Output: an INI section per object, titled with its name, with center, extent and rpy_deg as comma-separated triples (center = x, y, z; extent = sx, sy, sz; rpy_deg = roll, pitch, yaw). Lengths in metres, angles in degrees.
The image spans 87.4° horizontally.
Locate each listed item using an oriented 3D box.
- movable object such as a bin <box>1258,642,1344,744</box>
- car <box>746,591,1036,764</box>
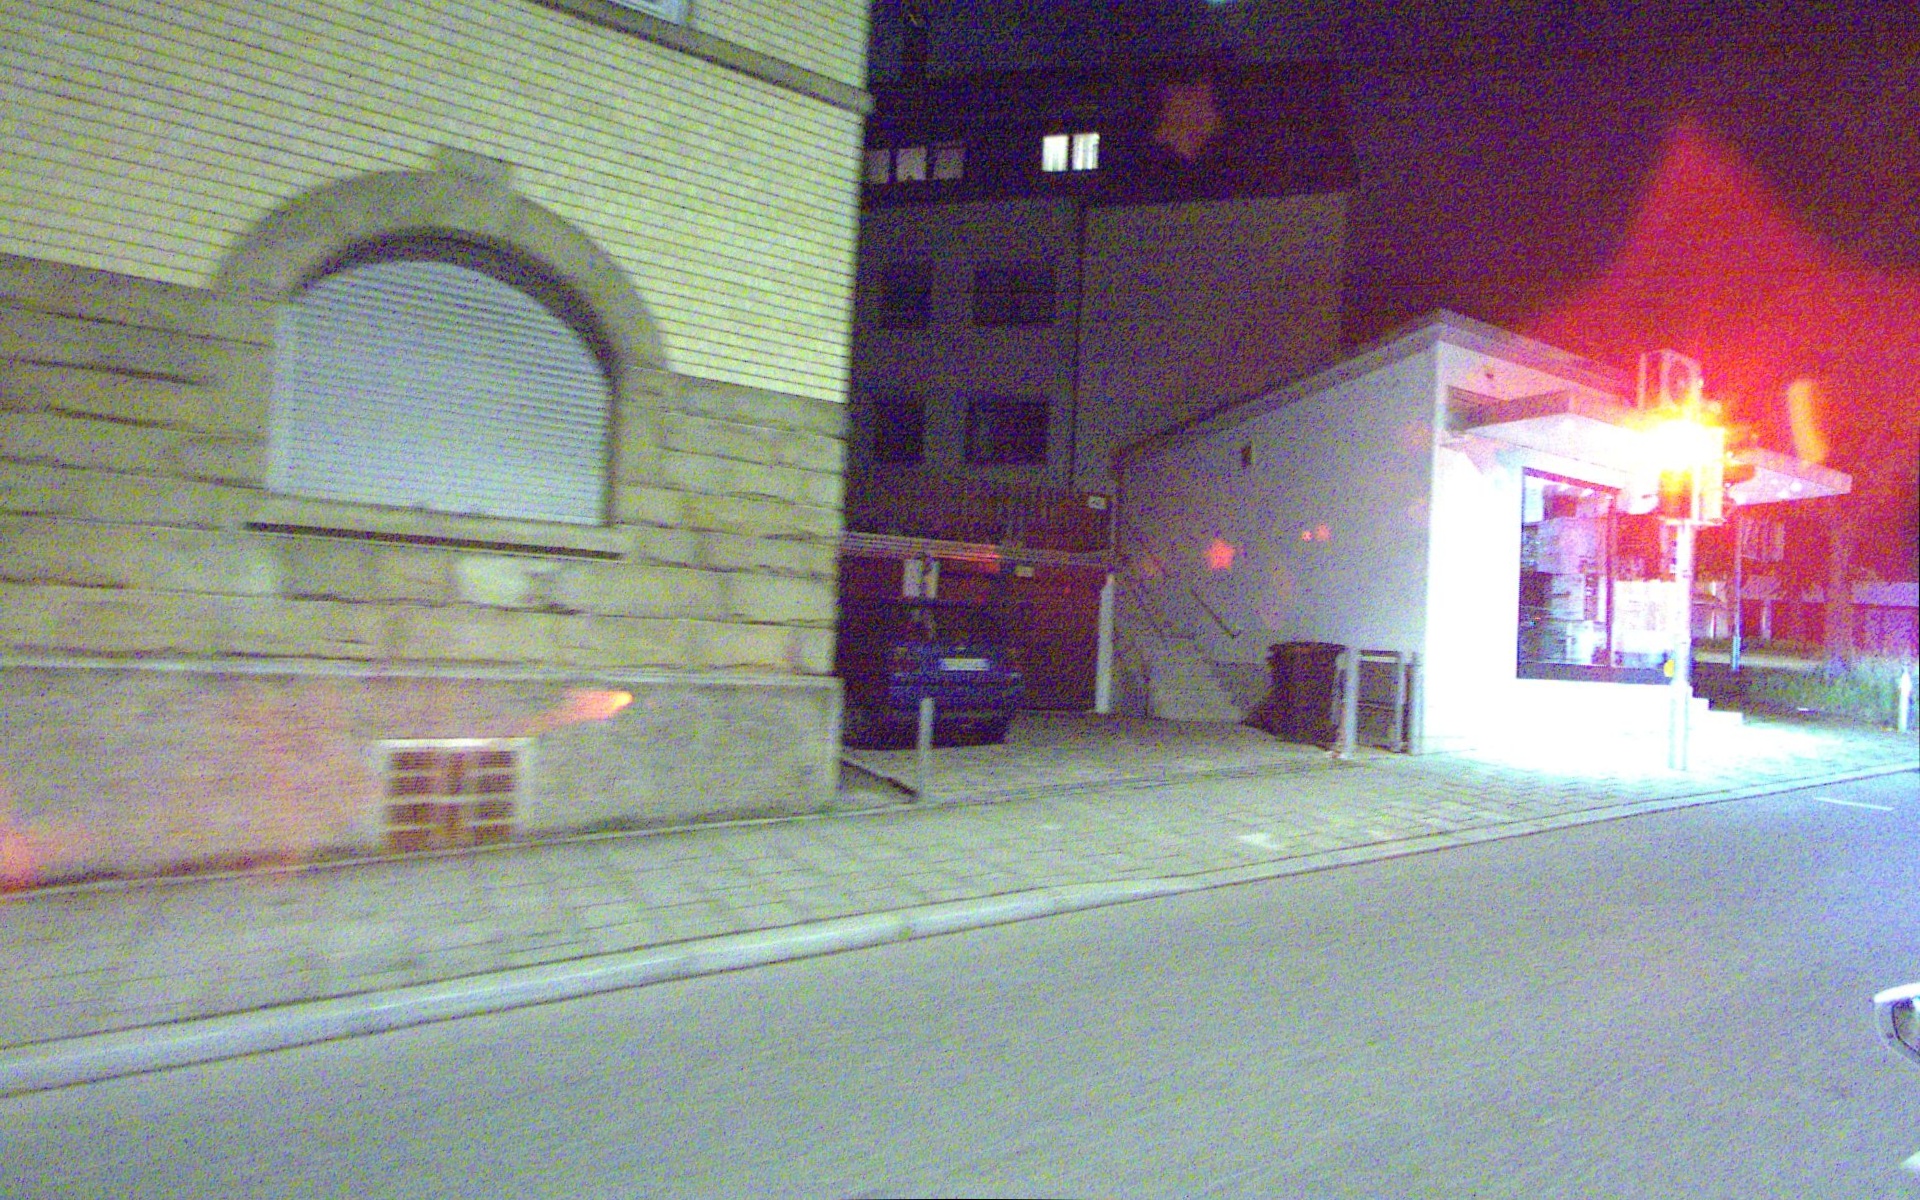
[movable object such as a bin]
center = 3.729, 1.006, 11.019
extent = 0.643, 1.063, 0.639
rpy_deg = 2, 0, -12
[car]
center = -0.858, 0.673, 10.449
extent = 1.655, 1.470, 3.340
rpy_deg = 2, 0, -31
